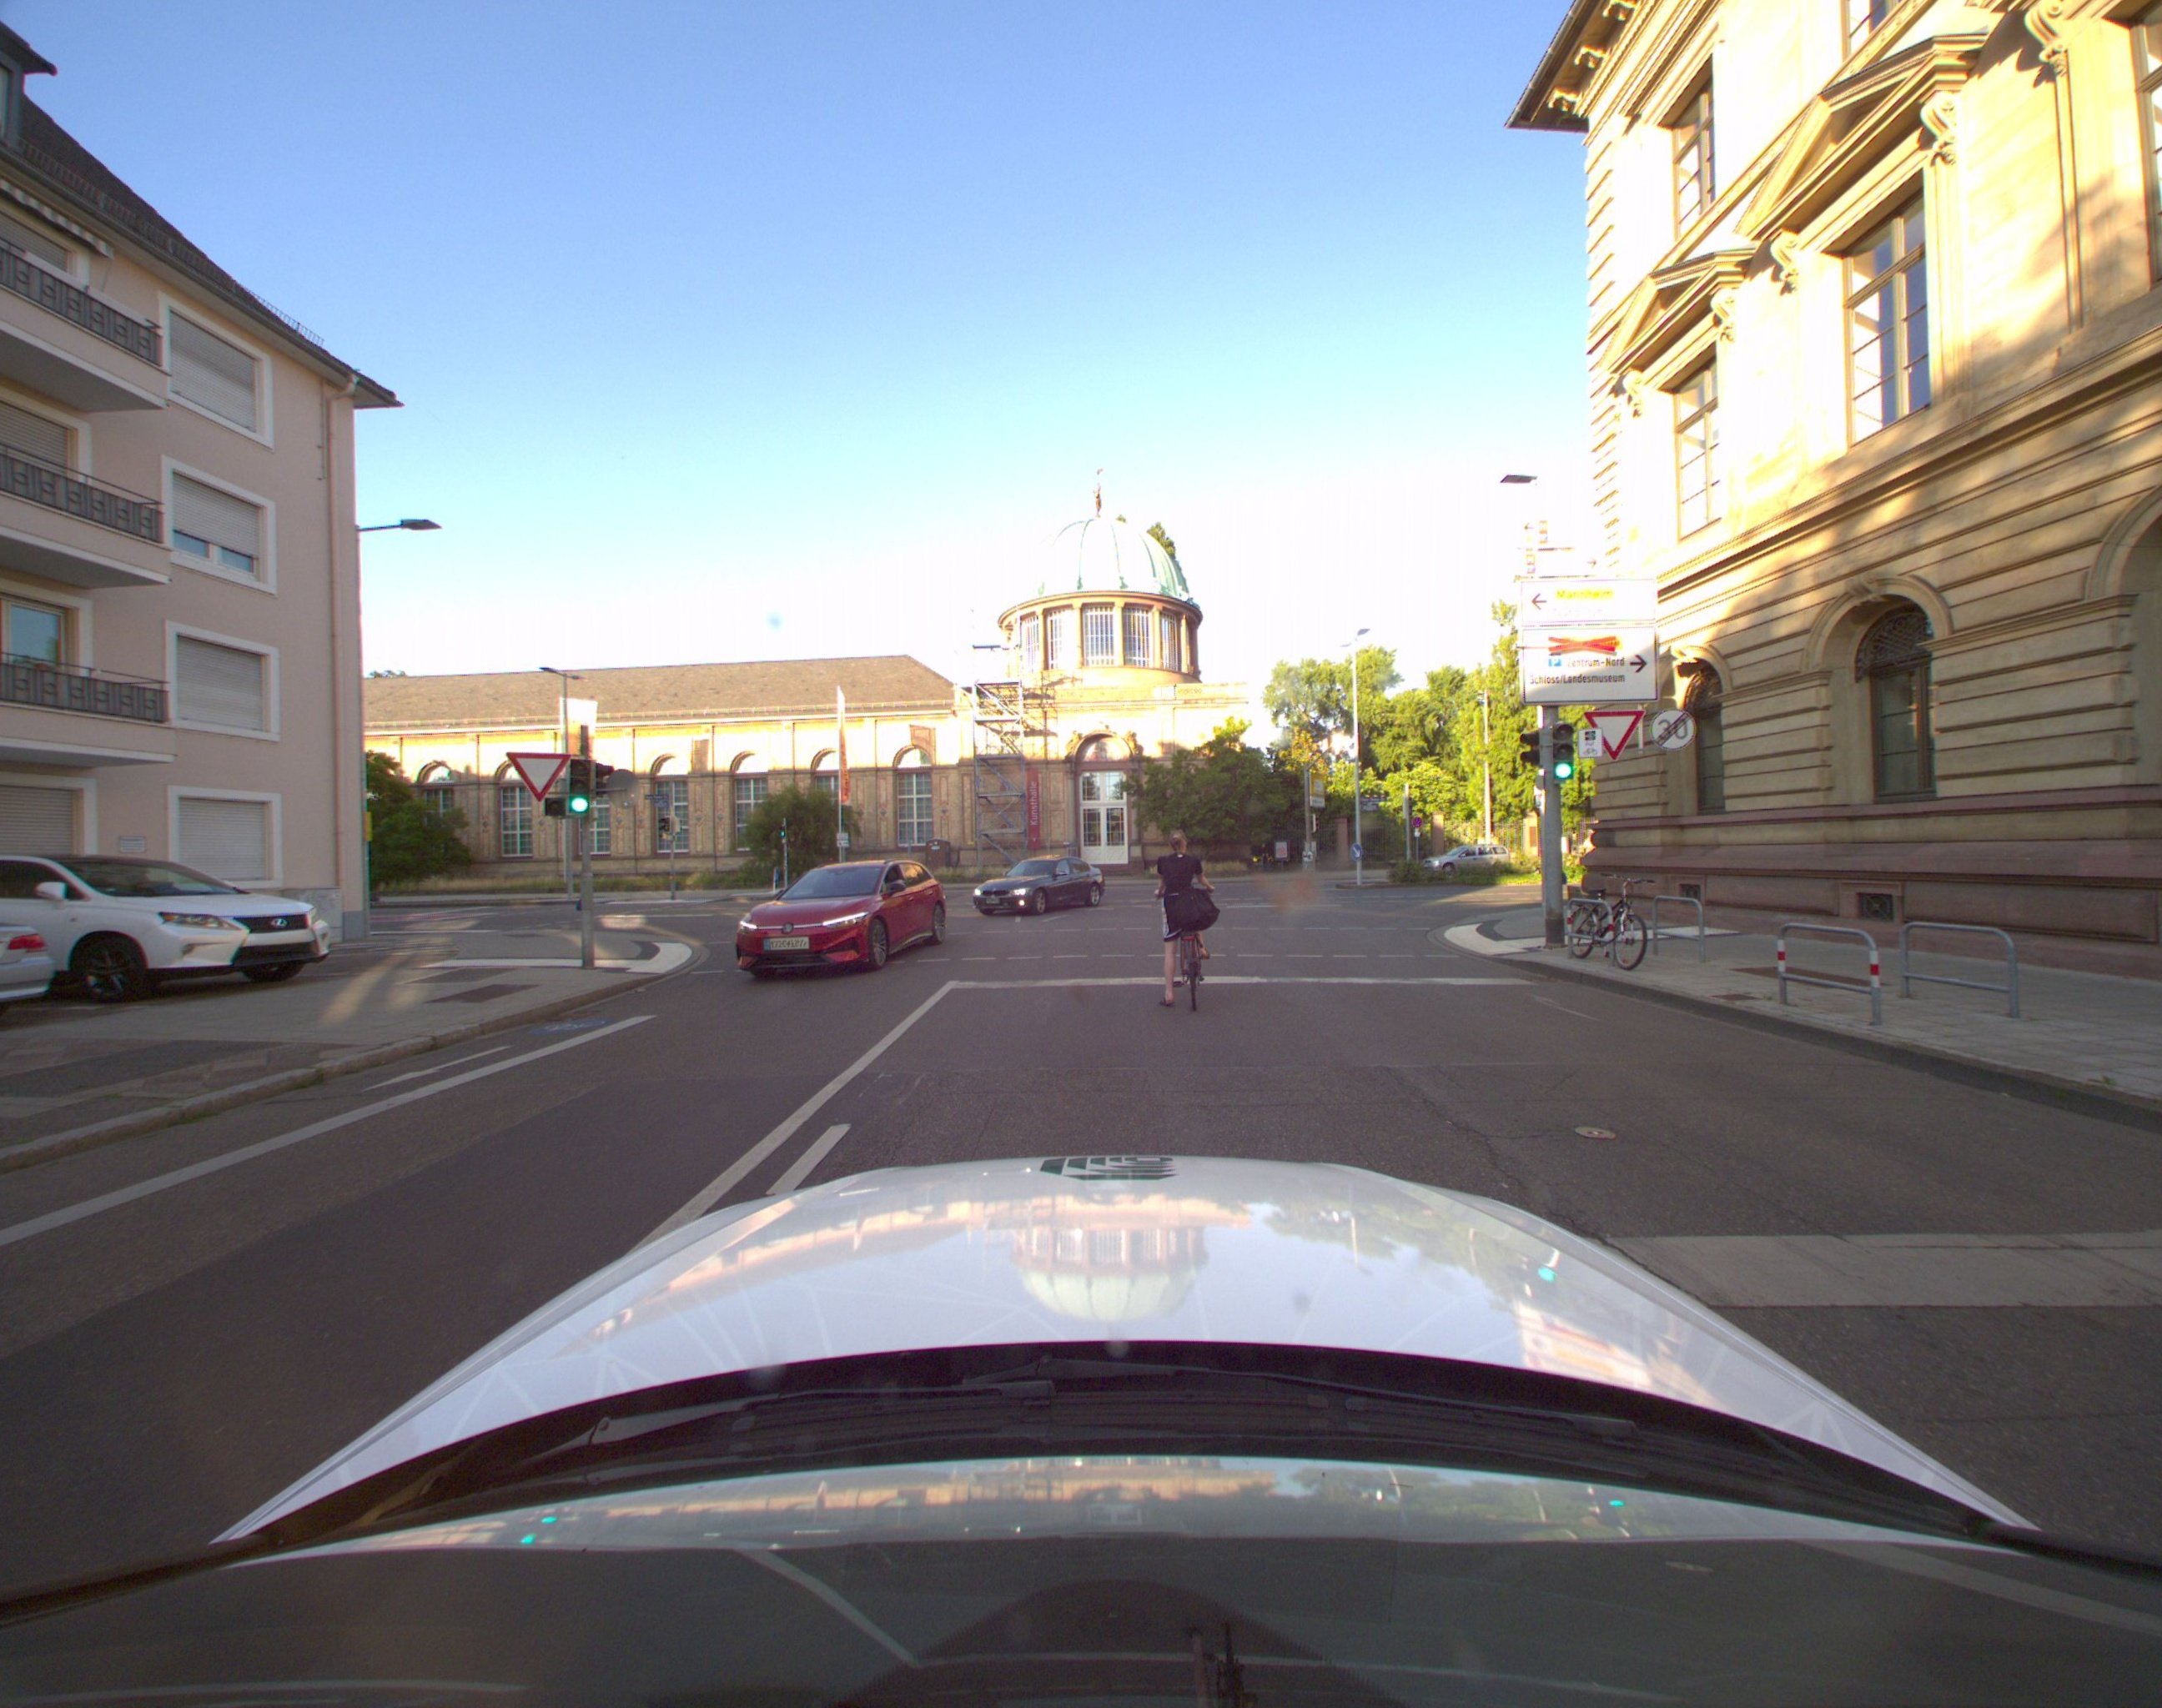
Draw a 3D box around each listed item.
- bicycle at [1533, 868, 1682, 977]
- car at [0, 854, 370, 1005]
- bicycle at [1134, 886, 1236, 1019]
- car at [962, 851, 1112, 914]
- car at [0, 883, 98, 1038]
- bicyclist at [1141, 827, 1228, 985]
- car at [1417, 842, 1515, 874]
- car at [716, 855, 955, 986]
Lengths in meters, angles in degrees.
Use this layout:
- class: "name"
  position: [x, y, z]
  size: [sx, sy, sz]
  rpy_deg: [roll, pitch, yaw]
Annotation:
- class: "bicycle"
  position: [6.321, 0.775, 9.916]
  size: [0.580, 1.188, 1.921]
  rpy_deg: [-2, -2, 2]
- class: "car"
  position: [-11.768, 0.834, 9.942]
  size: [4.426, 1.641, 1.942]
  rpy_deg: [0, 0, 0]
- class: "bicycle"
  position: [1.134, 0.939, 8.462]
  size: [0.706, 1.156, 2.077]
  rpy_deg: [-2, -2, 16]
- class: "car"
  position: [-1.051, 0.705, 21.920]
  size: [1.765, 1.459, 4.451]
  rpy_deg: [-3, 0, 31]
- class: "car"
  position: [-11.959, 0.980, 7.253]
  size: [4.253, 1.380, 1.735]
  rpy_deg: [0, 0, 0]
- class: "bicyclist"
  position: [1.071, 0.515, 8.274]
  size: [0.710, 1.502, 0.854]
  rpy_deg: [-2, -2, 16]
- class: "car"
  position: [19.455, 0.197, 41.257]
  size: [4.176, 1.445, 1.713]
  rpy_deg: [-2, 0, -4]
- class: "car"
  position: [-3.530, 0.861, 12.845]
  size: [1.821, 1.545, 4.855]
  rpy_deg: [-3, 0, 6]
